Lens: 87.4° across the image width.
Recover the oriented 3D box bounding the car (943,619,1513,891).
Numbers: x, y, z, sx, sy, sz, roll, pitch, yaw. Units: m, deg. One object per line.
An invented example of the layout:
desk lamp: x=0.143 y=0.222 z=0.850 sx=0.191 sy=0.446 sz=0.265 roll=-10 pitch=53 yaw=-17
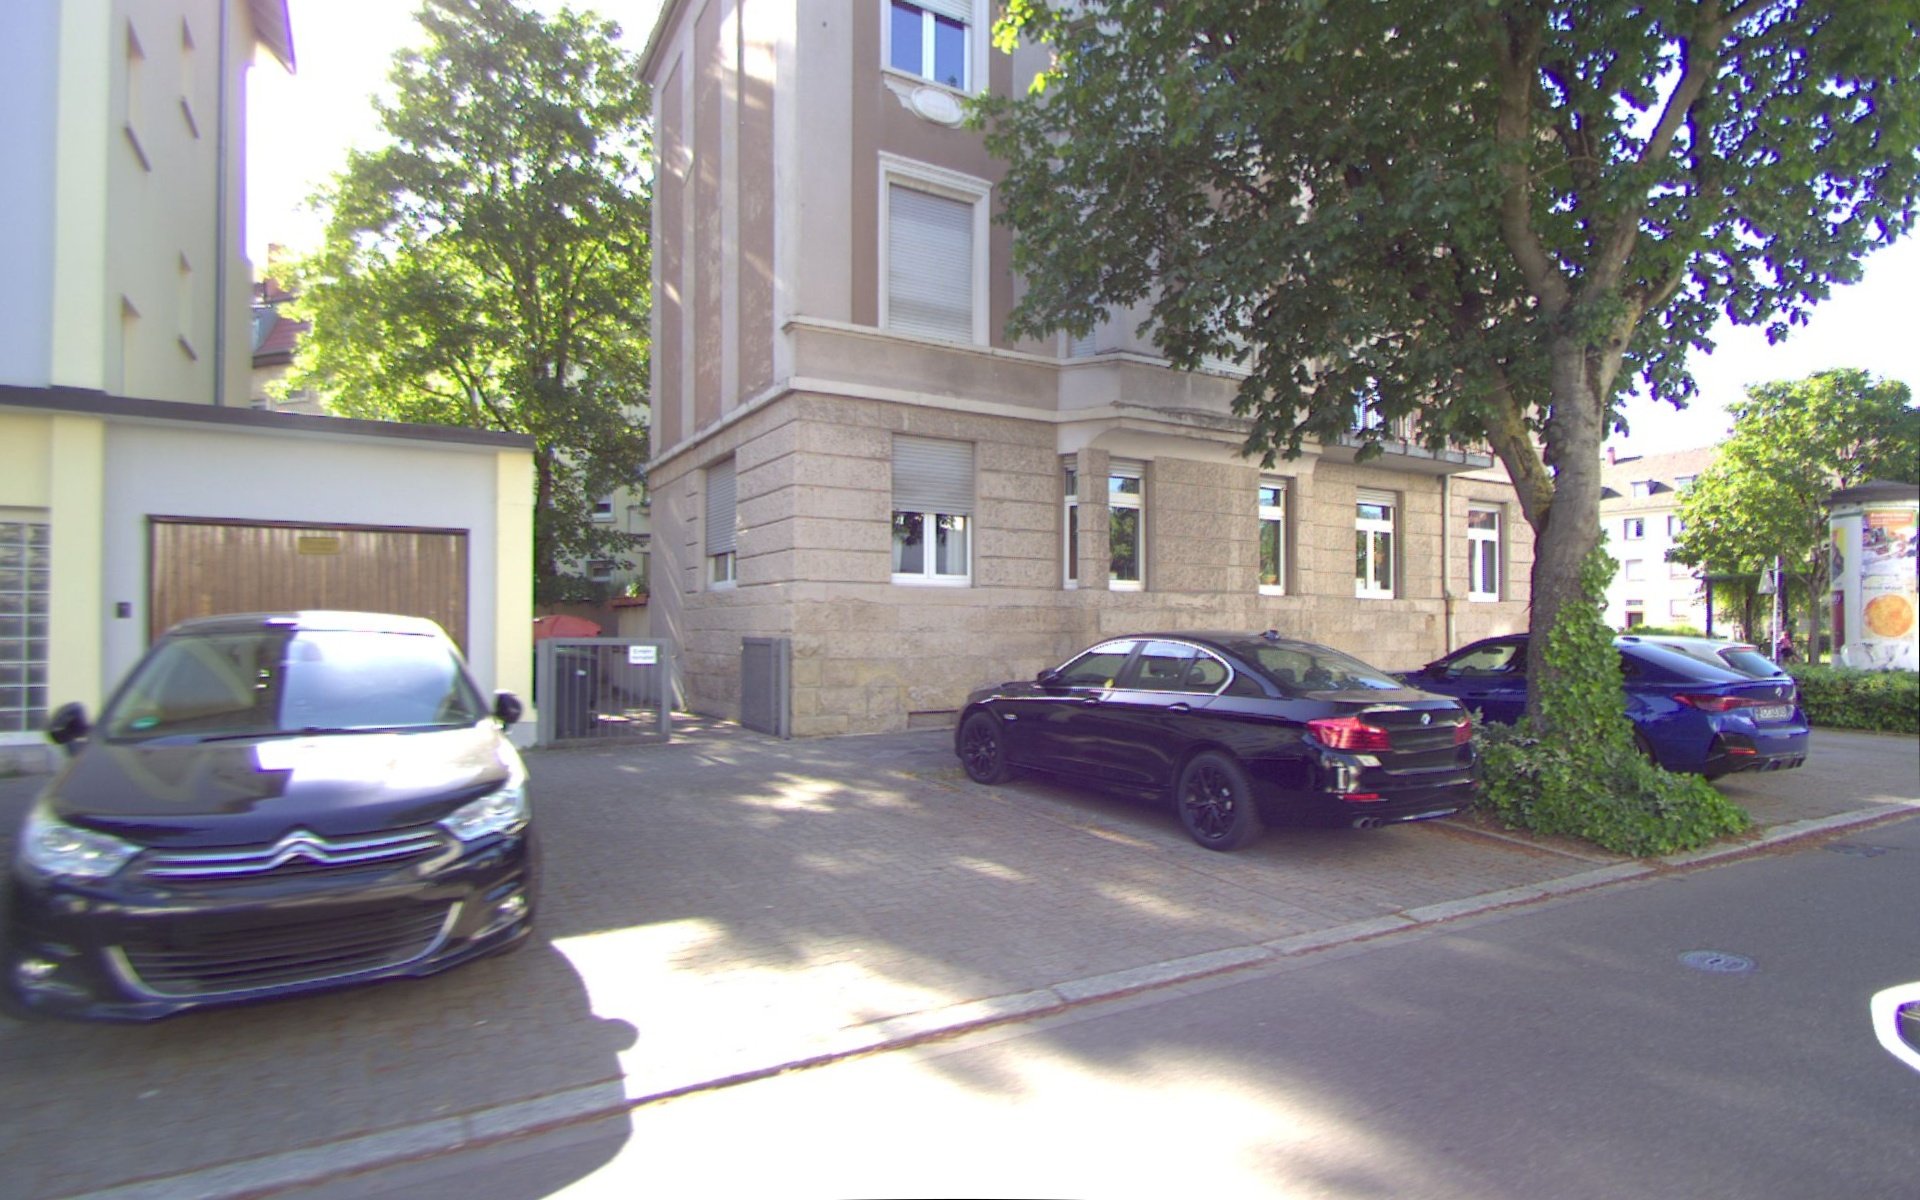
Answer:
car: x=1.794 y=0.968 z=8.210 sx=1.848 sy=1.498 sz=4.450 roll=2 pitch=-1 yaw=-31

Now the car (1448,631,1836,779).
car: x=8.143 y=1.139 z=12.301 sx=1.710 sy=1.449 sz=3.562 roll=1 pitch=-1 yaw=-30

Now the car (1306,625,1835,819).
car: x=6.108 y=1.084 z=10.652 sx=1.848 sy=1.498 sz=4.450 roll=2 pitch=-1 yaw=-31

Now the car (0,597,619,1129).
car: x=-3.208 y=0.804 z=5.148 sx=1.977 sy=1.520 sz=4.153 roll=2 pitch=0 yaw=-30

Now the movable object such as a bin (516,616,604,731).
movable object such as a bin: x=-5.192 y=0.936 z=13.043 sx=0.937 sy=1.416 sz=0.669 roll=2 pitch=0 yaw=-30

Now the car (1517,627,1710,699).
car: x=18.395 y=1.720 z=28.471 sx=1.790 sy=1.500 sz=4.120 roll=18 pitch=-10 yaw=-27

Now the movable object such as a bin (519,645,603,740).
movable object such as a bin: x=-4.802 y=1.095 z=12.082 sx=0.822 sy=1.071 sz=0.669 roll=2 pitch=0 yaw=-30
